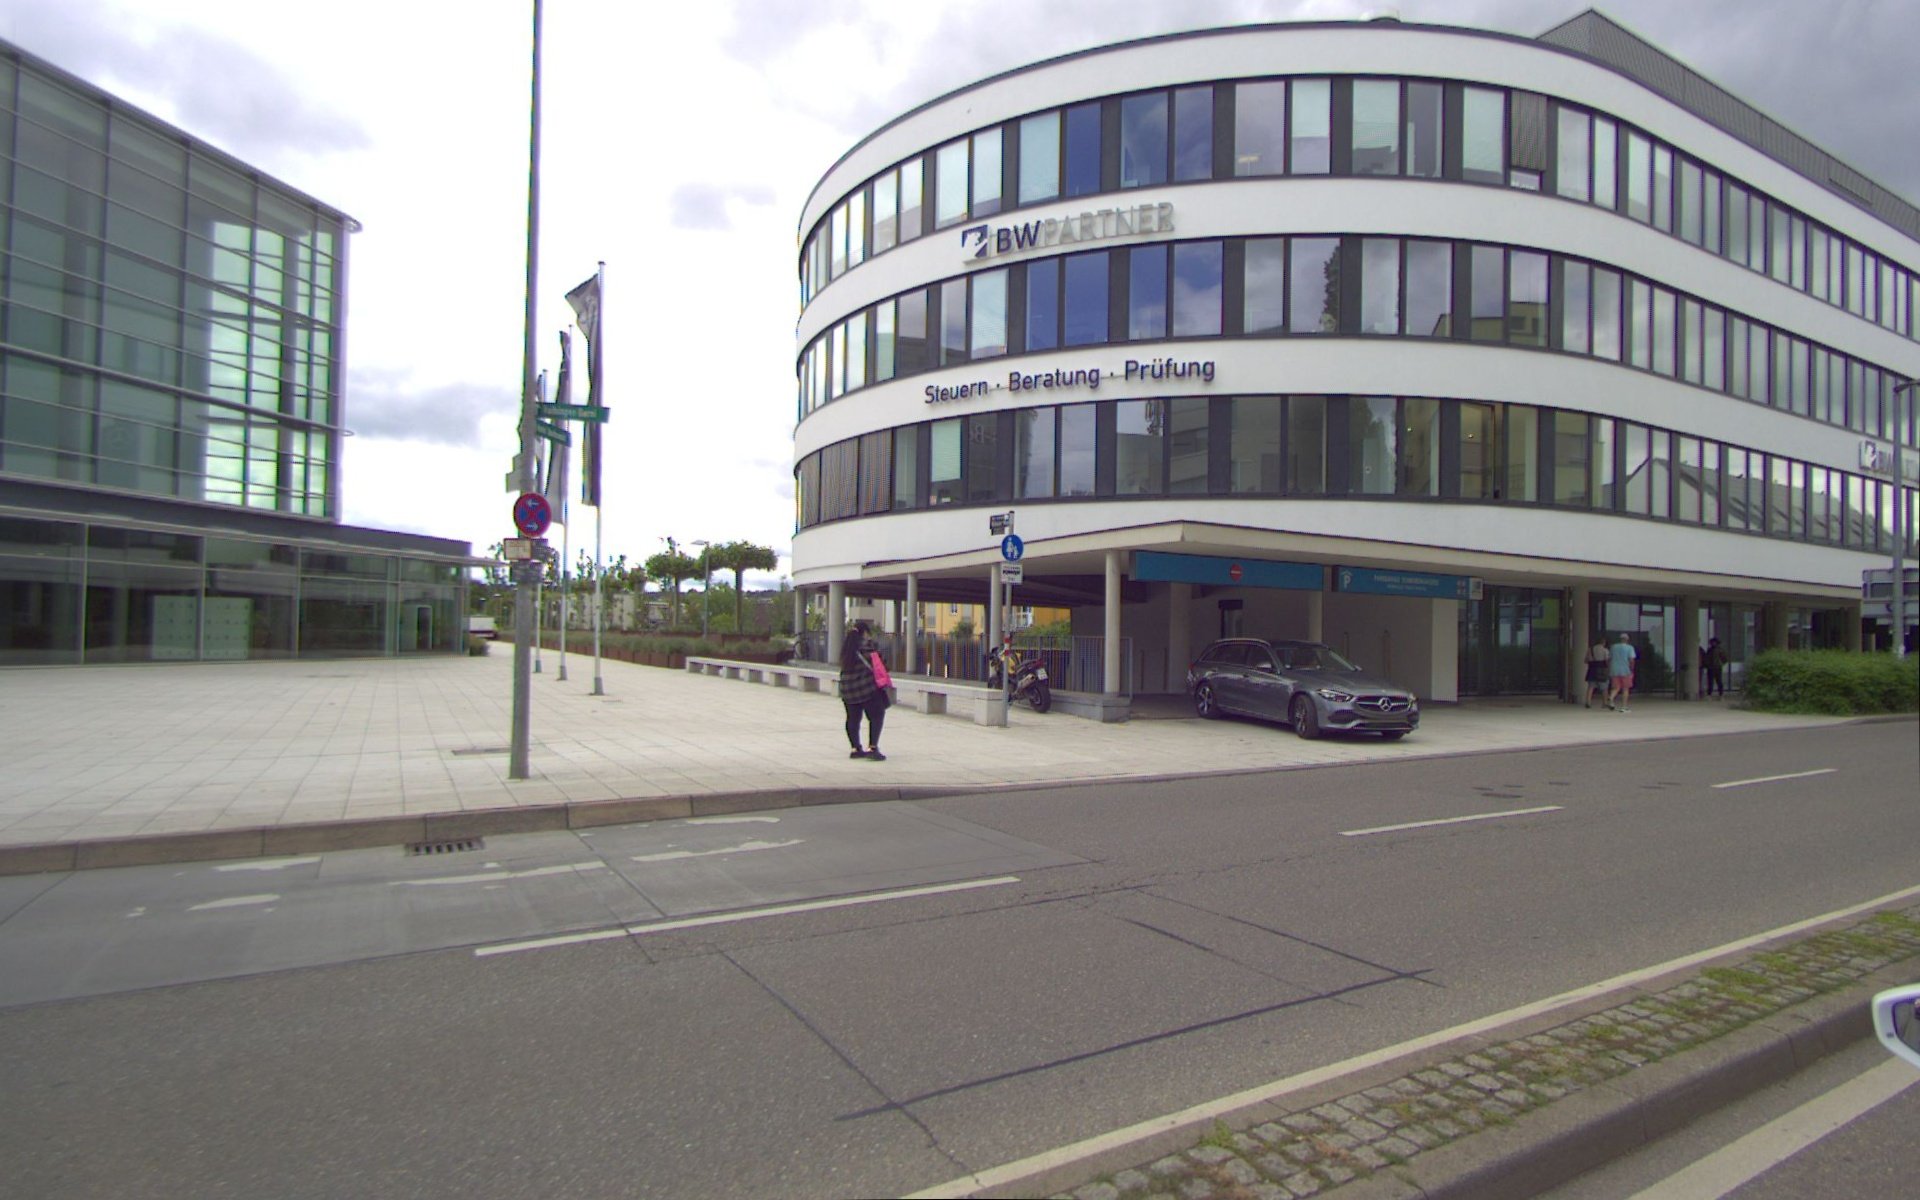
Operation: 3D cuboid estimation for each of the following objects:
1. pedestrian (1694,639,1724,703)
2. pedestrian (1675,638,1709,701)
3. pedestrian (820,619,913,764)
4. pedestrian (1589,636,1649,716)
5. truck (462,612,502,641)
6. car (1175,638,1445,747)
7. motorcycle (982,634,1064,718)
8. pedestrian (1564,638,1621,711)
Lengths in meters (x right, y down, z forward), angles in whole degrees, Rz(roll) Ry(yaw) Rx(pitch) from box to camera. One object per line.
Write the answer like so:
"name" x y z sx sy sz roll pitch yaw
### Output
"pedestrian" 20.717 1.956 27.779 0.604 1.732 0.505 1 -2 30
"pedestrian" 20.821 1.966 28.586 0.603 1.752 0.506 1 -1 1
"pedestrian" -1.093 1.032 11.671 0.802 1.588 0.828 2 0 -24
"pedestrian" 14.600 1.679 22.268 0.919 1.696 0.727 2 0 -28
"truck" -43.188 2.340 90.634 2.364 2.312 6.376 2 0 -34
"car" 5.576 1.432 16.687 1.873 1.434 4.452 2 -1 -19
"motorcycle" 1.117 1.356 18.339 0.627 1.350 1.848 2 0 -26
"pedestrian" 14.801 1.739 23.493 0.919 1.634 0.727 2 0 -28
